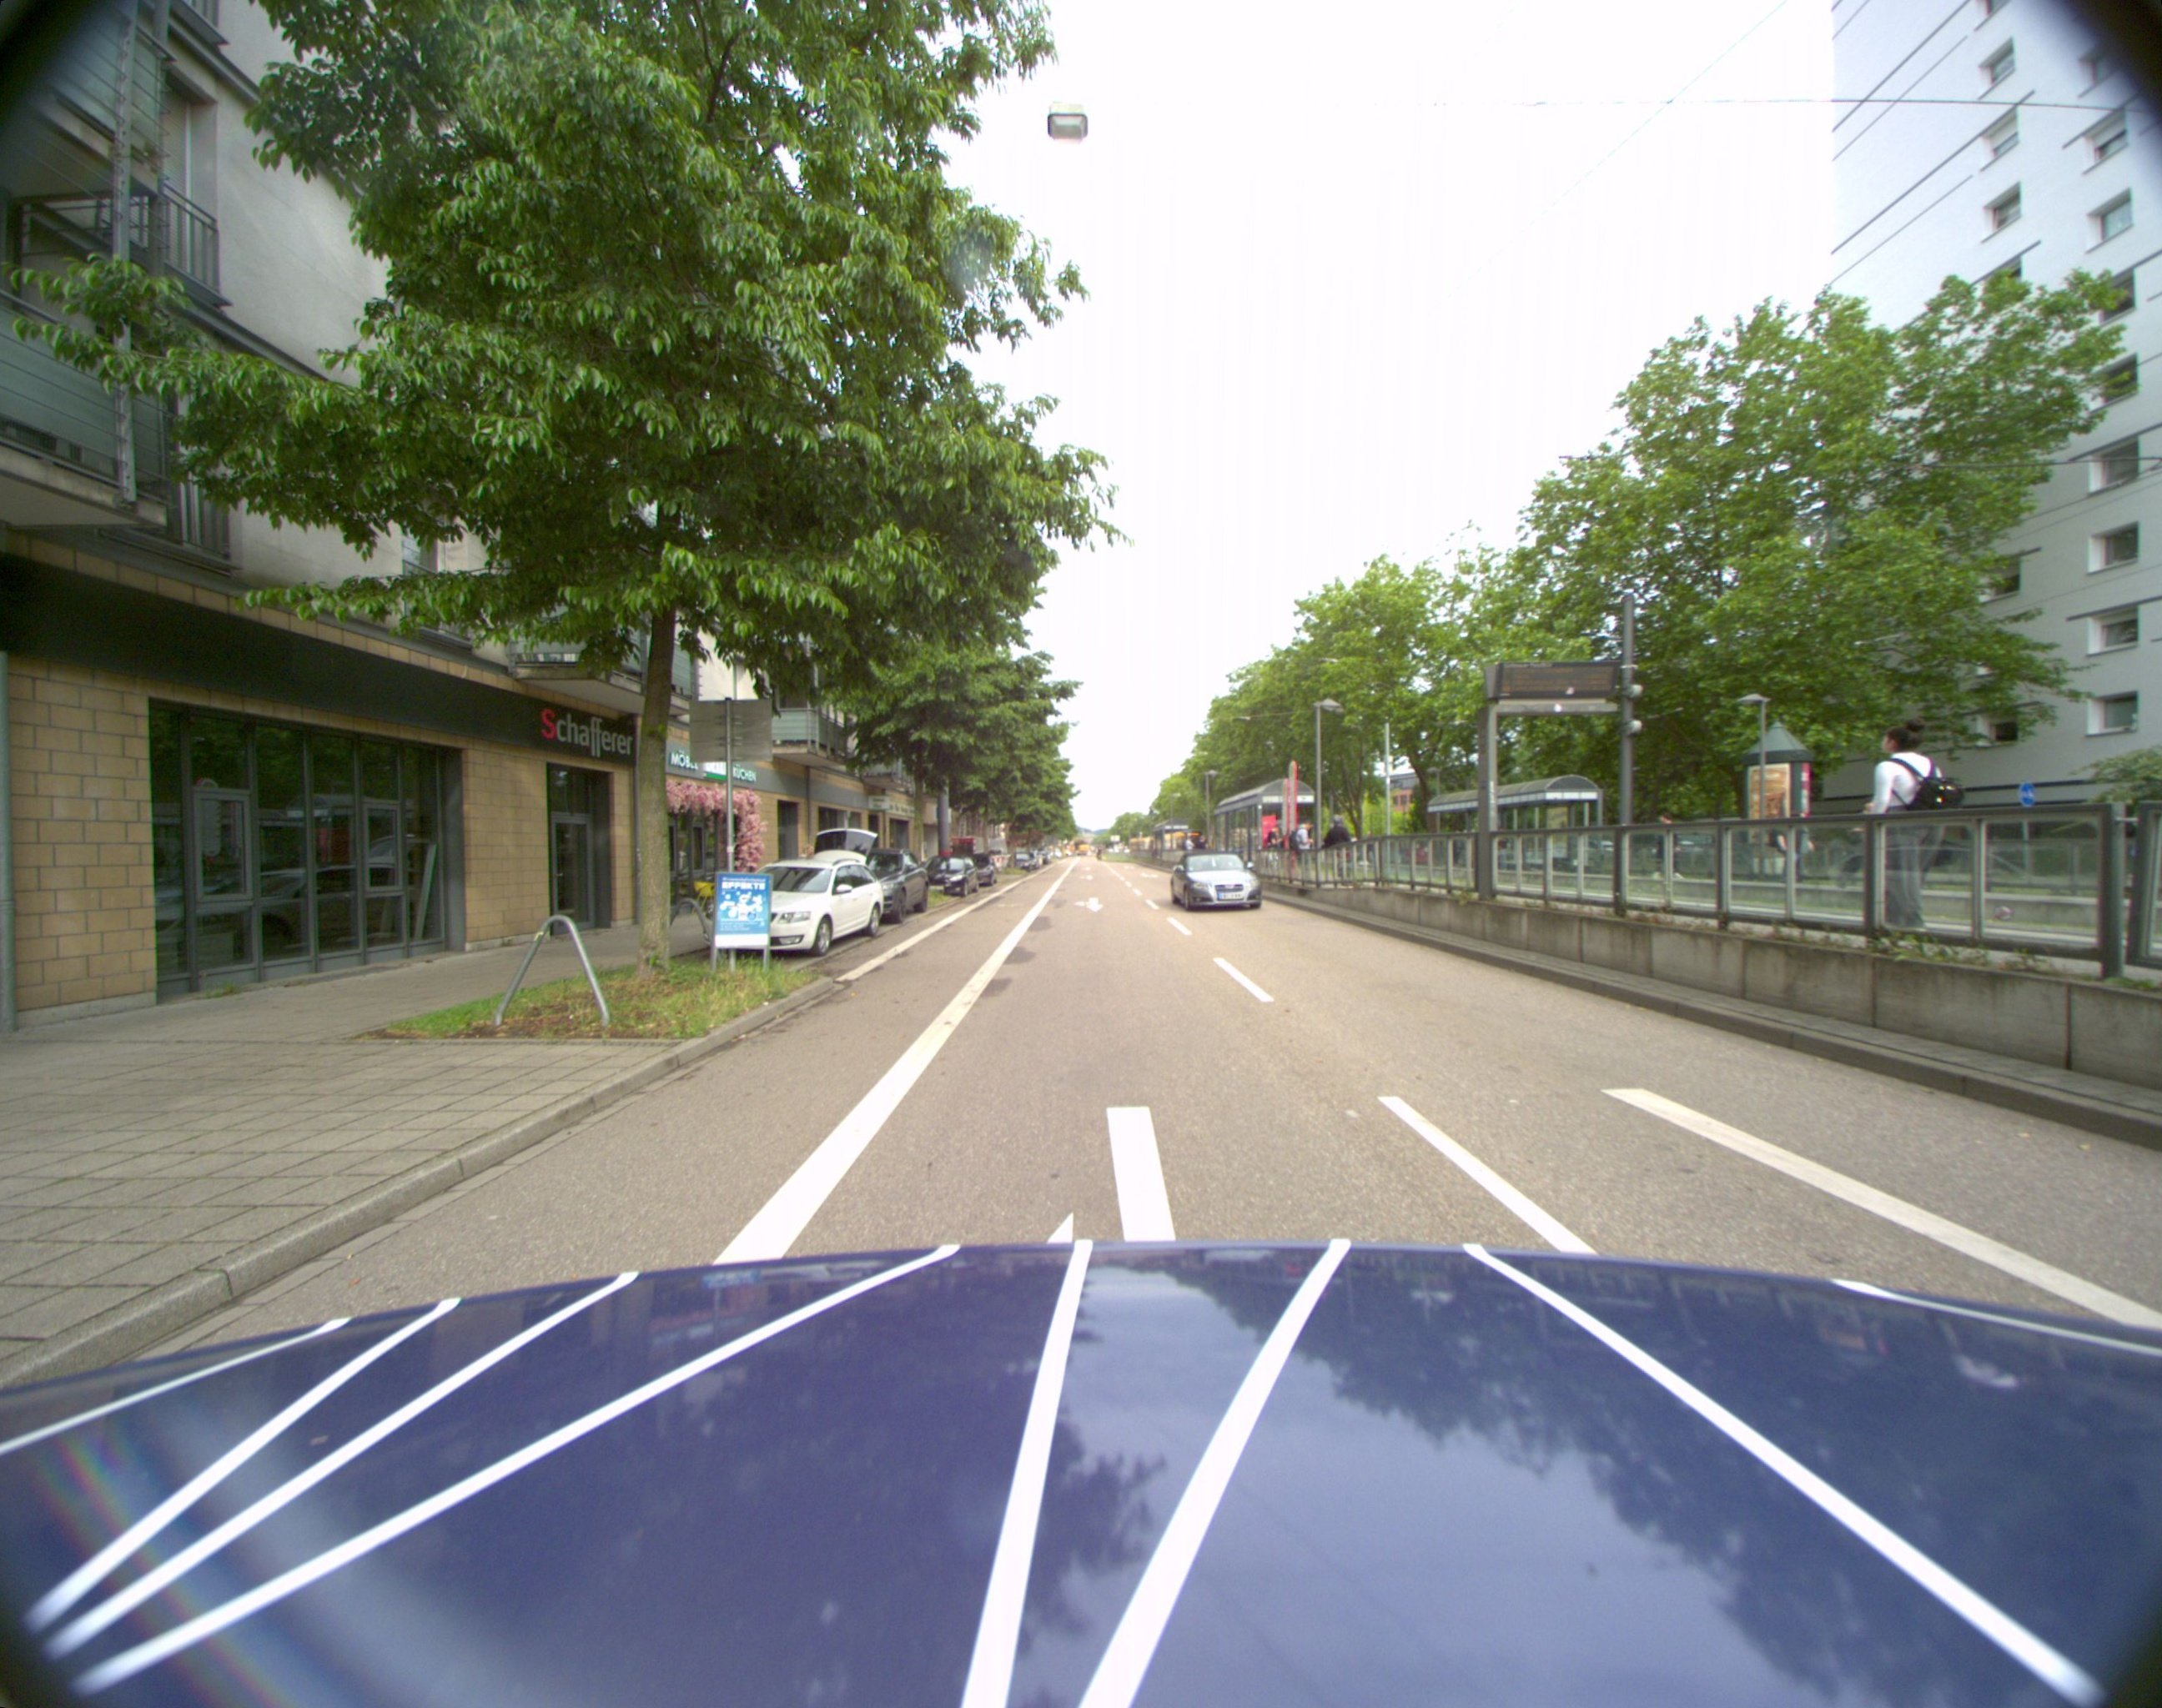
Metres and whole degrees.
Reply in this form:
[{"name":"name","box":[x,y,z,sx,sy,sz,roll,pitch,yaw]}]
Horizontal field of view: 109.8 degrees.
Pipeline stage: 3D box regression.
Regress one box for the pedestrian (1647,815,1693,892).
[{"name":"pedestrian","box":[15.168,-0.020,19.572,0.699,1.919,0.554,-2,1,1]}]

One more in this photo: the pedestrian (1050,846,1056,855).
[{"name":"pedestrian","box":[-6.361,-0.819,170.432,1.216,2.002,1.142,-1,1,1]}]

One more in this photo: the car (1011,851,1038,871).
[{"name":"car","box":[-4.165,0.481,56.256,1.612,1.393,3.667,2,1,1]}]

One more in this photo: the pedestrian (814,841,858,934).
[{"name":"pedestrian","box":[-5.064,0.672,15.725,0.656,1.873,0.599,-1,1,1]}]

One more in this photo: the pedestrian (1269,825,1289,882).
[{"name":"pedestrian","box":[6.312,-0.027,24.210,0.474,1.794,0.606,-2,1,26]}]

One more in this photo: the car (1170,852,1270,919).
[{"name":"car","box":[3.315,0.694,18.853,1.716,1.379,4.099,-2,1,1]}]

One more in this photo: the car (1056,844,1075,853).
[{"name":"car","box":[-3.712,-1.224,183.582,4.188,2.002,2.003,-2,1,25]}]

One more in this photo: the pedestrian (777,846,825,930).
[{"name":"pedestrian","box":[-5.826,0.687,15.832,0.737,1.707,0.618,0,1,8]}]

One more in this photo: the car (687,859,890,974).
[{"name":"car","box":[-4.720,0.903,13.012,1.738,1.512,4.308,2,1,1]}]

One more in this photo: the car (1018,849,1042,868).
[{"name":"car","box":[-4.125,0.366,62.176,1.612,1.393,3.667,2,1,1]}]

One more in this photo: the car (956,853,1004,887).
[{"name":"car","box":[-4.557,0.686,34.748,1.612,1.393,3.667,2,1,1]}]

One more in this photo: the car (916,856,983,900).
[{"name":"car","box":[-4.638,0.796,27.287,1.612,1.370,4.167,2,1,1]}]

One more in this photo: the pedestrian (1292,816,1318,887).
[{"name":"pedestrian","box":[5.747,-0.063,19.494,0.475,1.794,0.605,-2,1,5]}]

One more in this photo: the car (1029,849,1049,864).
[{"name":"car","box":[-3.970,0.210,72.462,1.612,1.393,3.667,2,1,1]}]

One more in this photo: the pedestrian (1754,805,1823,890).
[{"name":"pedestrian","box":[15.768,-0.145,16.942,0.882,1.823,0.666,-2,1,1]}]

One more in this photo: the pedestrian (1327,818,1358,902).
[{"name":"pedestrian","box":[5.705,0.120,16.591,0.521,1.794,0.605,-2,1,13]}]

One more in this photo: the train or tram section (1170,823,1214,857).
[{"name":"train or tram section","box":[13.775,-1.708,95.786,3.338,3.731,15.201,-2,1,1]}]

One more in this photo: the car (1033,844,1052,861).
[{"name":"car","box":[-3.964,-0.139,78.232,1.612,1.674,3.806,2,1,1]}]

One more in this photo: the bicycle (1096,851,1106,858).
[{"name":"bicycle","box":[2.675,0.110,99.902,0.492,0.925,1.778,-3,1,-27]}]

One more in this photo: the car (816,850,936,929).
[{"name":"car","box":[-4.716,0.743,18.015,1.738,1.601,3.798,2,1,1]}]

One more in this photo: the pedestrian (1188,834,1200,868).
[{"name":"pedestrian","box":[6.140,-0.178,41.351,0.530,1.794,0.606,-2,1,14]}]

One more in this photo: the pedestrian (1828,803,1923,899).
[{"name":"pedestrian","box":[15.080,-0.058,14.444,0.882,1.746,0.850,-2,1,1]}]

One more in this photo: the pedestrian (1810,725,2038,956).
[{"name":"pedestrian","box":[6.634,-0.099,6.044,0.720,1.661,0.979,-2,1,3]}]

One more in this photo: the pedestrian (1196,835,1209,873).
[{"name":"pedestrian","box":[5.847,0.000,36.534,0.530,1.794,0.606,-2,1,14]}]

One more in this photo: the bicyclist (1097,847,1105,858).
[{"name":"bicyclist","box":[2.688,-0.206,99.815,0.727,1.458,0.811,-2,1,-27]}]
